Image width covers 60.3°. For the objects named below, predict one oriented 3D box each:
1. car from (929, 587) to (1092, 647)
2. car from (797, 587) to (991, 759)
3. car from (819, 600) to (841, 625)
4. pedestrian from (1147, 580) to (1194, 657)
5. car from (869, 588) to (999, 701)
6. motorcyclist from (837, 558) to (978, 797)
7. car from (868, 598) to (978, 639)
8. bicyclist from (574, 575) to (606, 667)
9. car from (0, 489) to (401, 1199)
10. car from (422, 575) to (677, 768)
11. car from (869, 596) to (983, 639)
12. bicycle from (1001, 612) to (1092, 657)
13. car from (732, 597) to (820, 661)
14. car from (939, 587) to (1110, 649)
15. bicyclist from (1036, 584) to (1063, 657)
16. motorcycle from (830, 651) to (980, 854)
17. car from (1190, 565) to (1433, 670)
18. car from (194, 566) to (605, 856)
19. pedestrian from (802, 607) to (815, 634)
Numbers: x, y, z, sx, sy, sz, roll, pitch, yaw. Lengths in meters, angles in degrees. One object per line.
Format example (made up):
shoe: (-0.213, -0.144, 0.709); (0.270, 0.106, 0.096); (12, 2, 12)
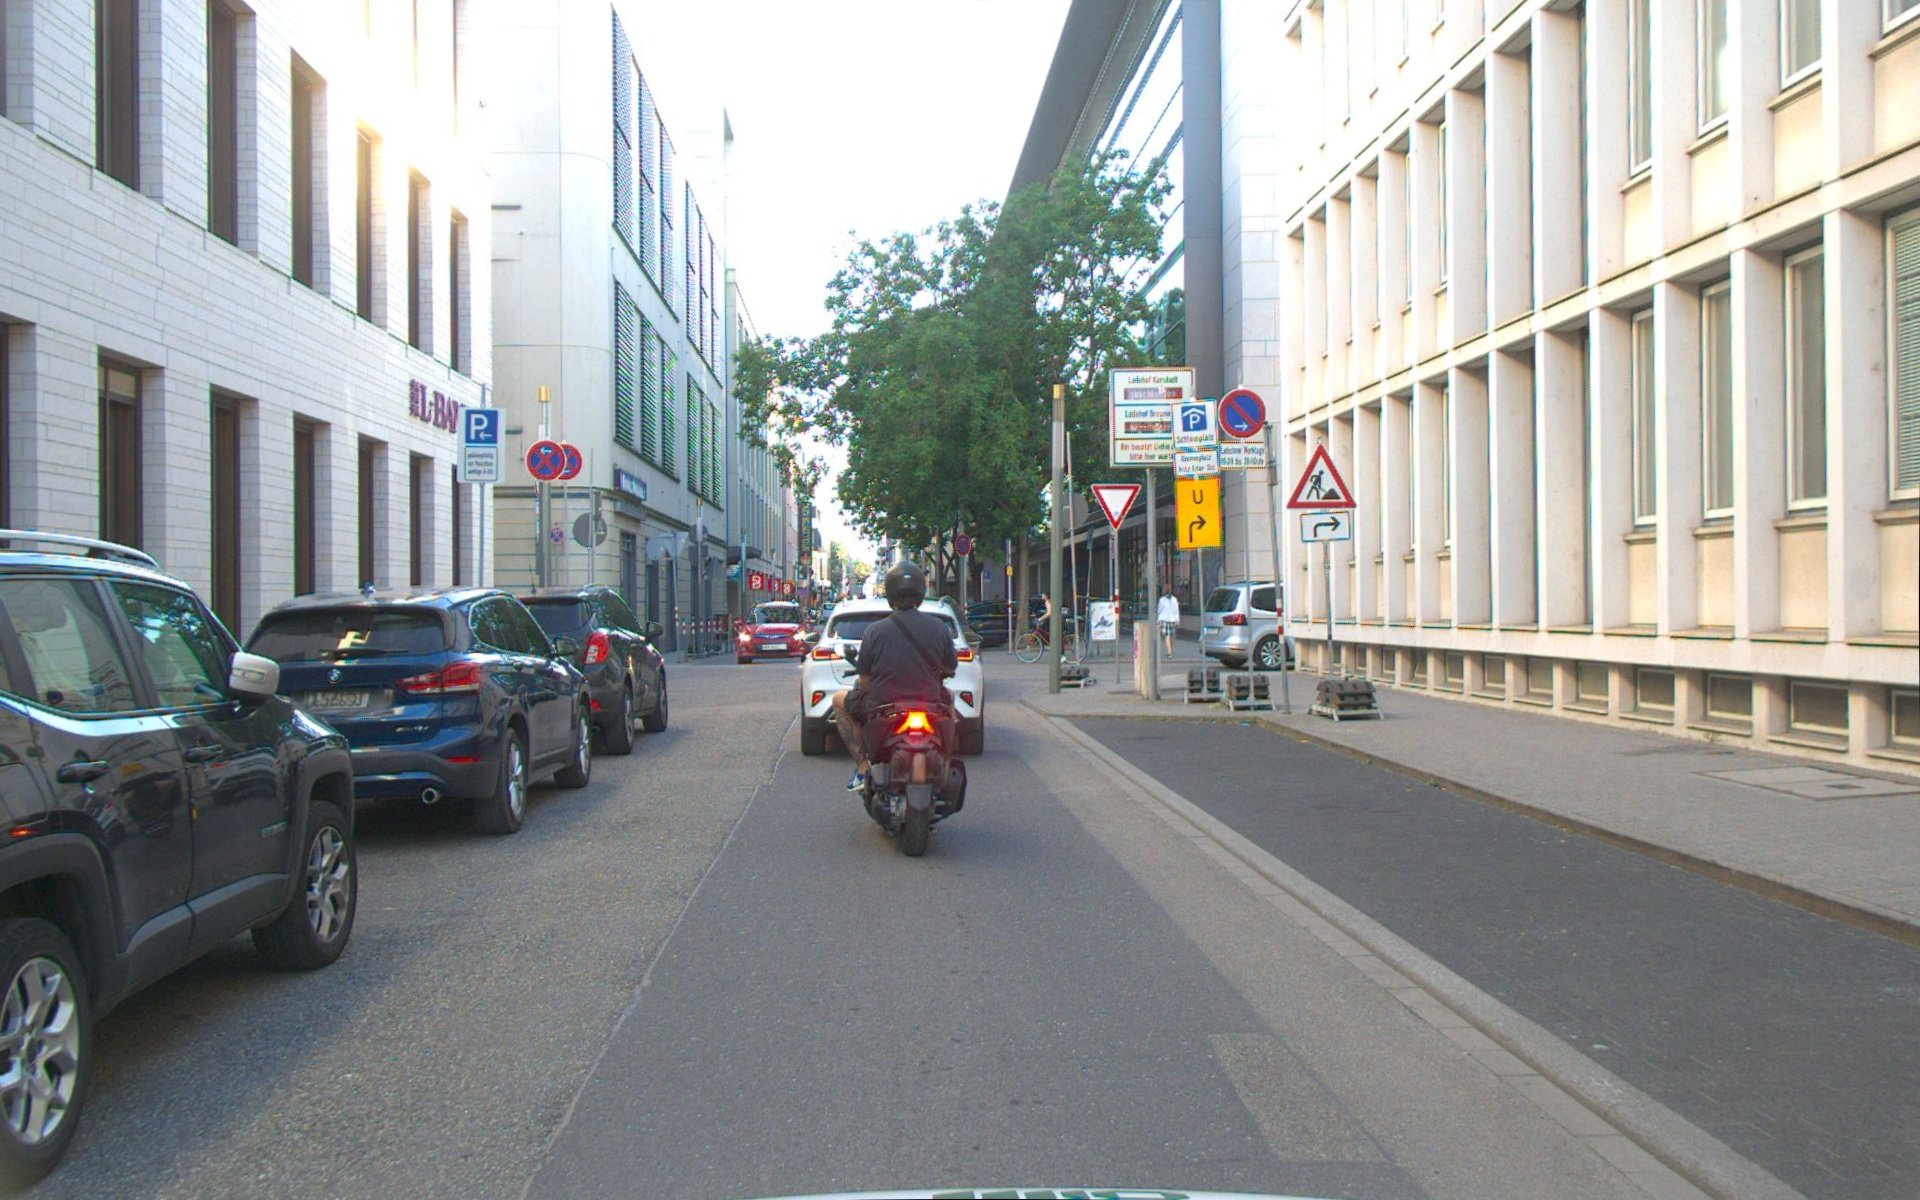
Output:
car: (1.578, 0.544, 52.798); (4.909, 1.525, 1.998); (-4, -1, -6)
car: (-0.753, 0.657, 17.430); (1.786, 1.568, 4.260); (0, 0, -4)
car: (-12.747, 1.189, 162.143); (1.955, 2.370, 5.015); (1, 0, -5)
pedestrian: (4.955, 0.438, 38.984); (0.887, 1.735, 0.834); (-3, -1, -2)
car: (-0.502, 0.632, 26.429); (1.786, 1.568, 4.361); (-3, 0, -4)
motorcyclist: (-0.328, 0.473, 10.269); (0.849, 1.452, 0.455); (0, -1, -2)
car: (-1.746, 0.848, 77.050); (4.909, 1.525, 1.998); (-4, -1, -6)
bicyclist: (-7.121, 0.404, 31.789); (0.542, 1.762, 0.499); (1, -1, -19)
car: (-3.302, 0.633, 5.360); (1.786, 1.744, 4.014); (-3, 0, -4)
car: (-4.175, 0.646, 17.509); (1.786, 1.707, 4.261); (-3, 0, -3)
car: (-1.558, 0.795, 74.603); (4.909, 1.525, 1.998); (-4, -1, -6)
bicycle: (1.985, 0.798, 37.997); (2.058, 1.012, 0.519); (0, -1, 3)
car: (-4.520, 0.760, 41.139); (1.785, 1.491, 4.262); (0, -2, -1)
car: (1.918, 0.560, 50.416); (4.909, 1.477, 1.998); (-4, -1, -6)
bicyclist: (2.051, 0.470, 38.007); (0.616, 1.654, 0.498); (0, -1, 3)
motorcycle: (-0.344, 0.899, 10.375); (0.855, 1.129, 1.839); (0, -1, -2)
car: (7.019, 0.298, 33.096); (4.406, 1.673, 1.822); (-4, 4, -15)
car: (-3.741, 0.635, 11.821); (1.705, 1.622, 4.150); (-3, 0, -4)
pedestrian: (-8.964, 1.196, 97.615); (0.717, 1.601, 0.635); (0, -1, -3)
